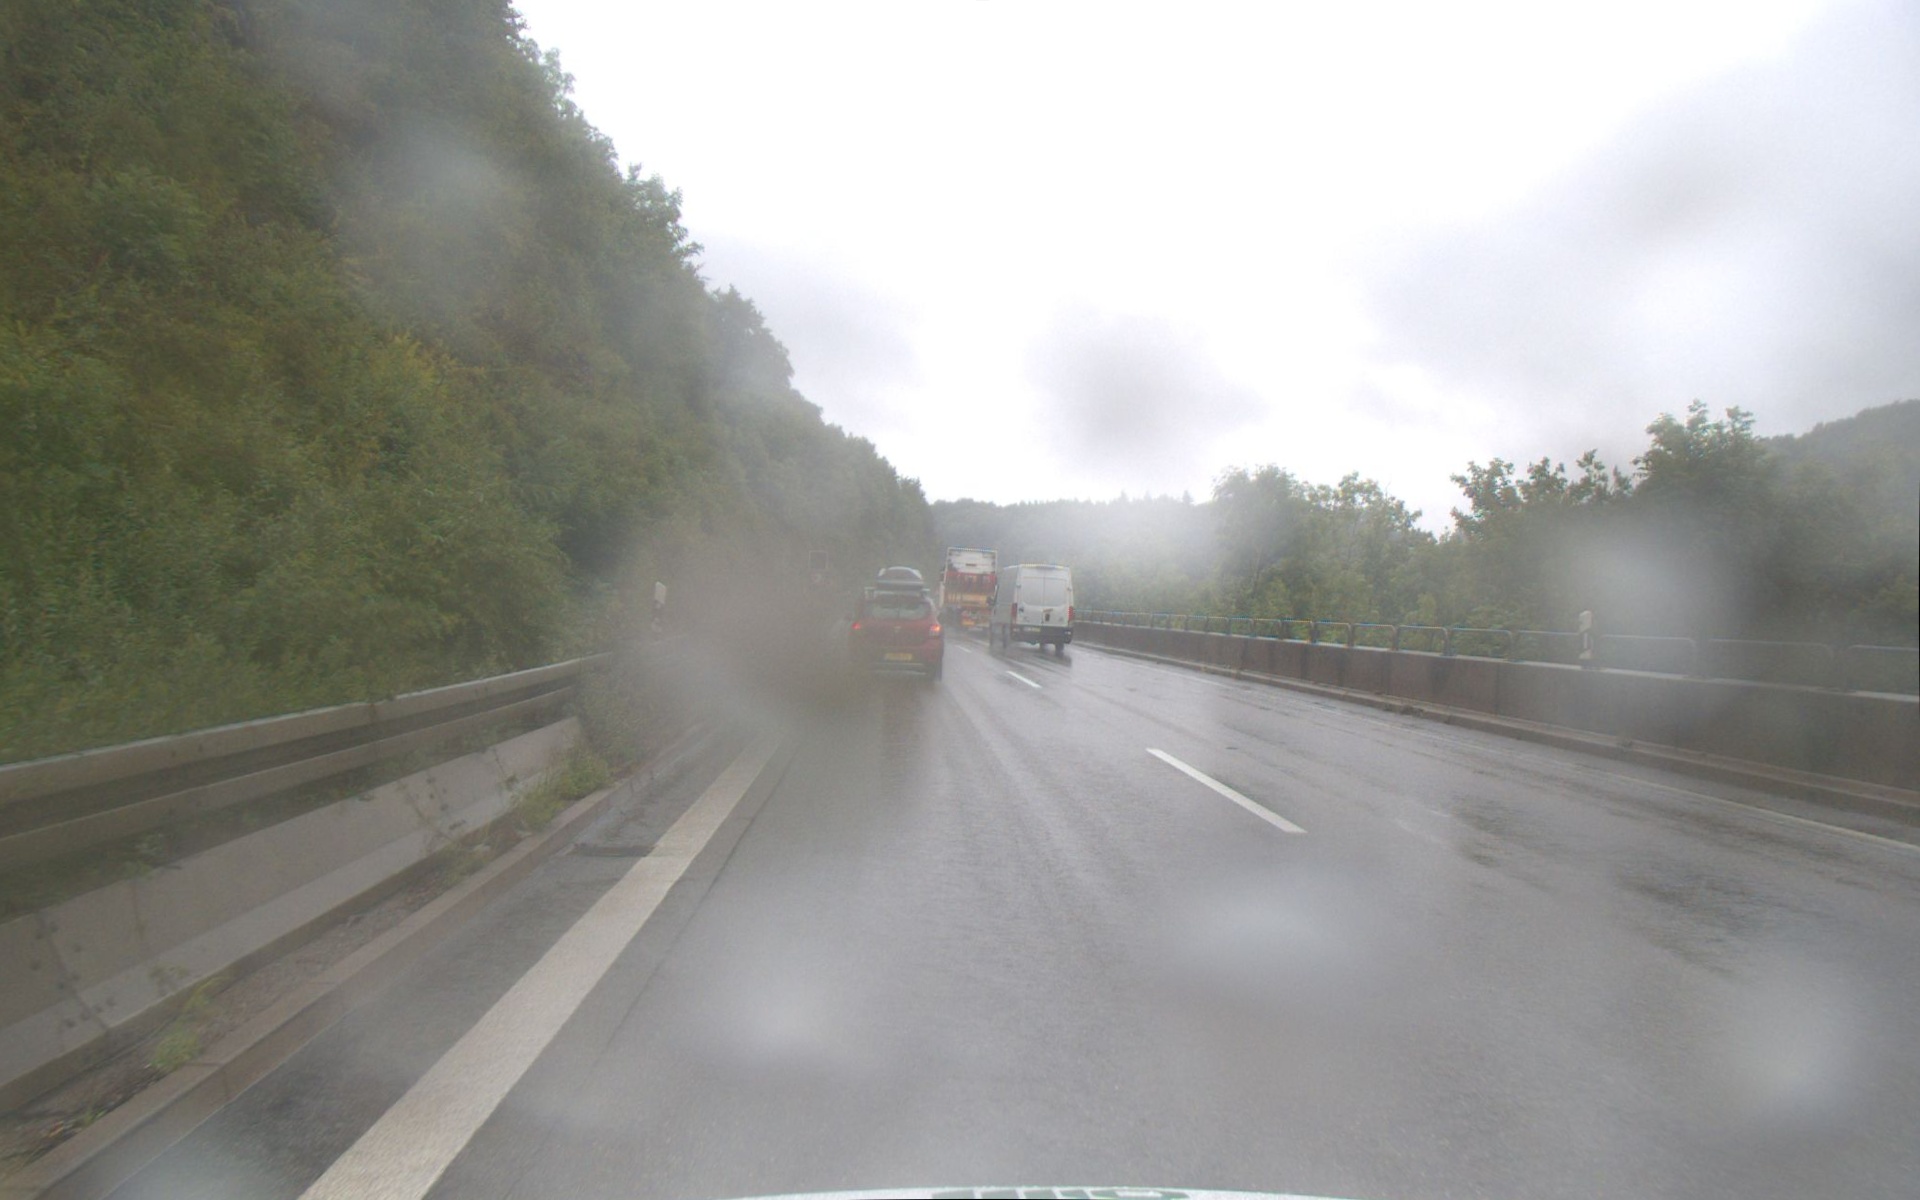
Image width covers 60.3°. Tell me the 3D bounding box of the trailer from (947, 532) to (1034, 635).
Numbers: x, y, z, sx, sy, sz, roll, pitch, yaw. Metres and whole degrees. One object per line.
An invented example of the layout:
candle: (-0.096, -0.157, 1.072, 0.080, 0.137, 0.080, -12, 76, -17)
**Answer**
trailer: (1.199, -0.667, 74.283, 3.153, 4.068, 13.519, 2, 0, -2)

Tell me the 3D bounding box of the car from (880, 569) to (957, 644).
car: (-1.057, 0.167, 40.619, 1.796, 1.745, 3.643, 0, -1, -2)

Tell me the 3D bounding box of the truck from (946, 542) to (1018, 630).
truck: (1.026, -0.641, 81.542, 3.155, 4.047, 5.437, 2, 0, -1)

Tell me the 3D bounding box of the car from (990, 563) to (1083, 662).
car: (2.356, 0.369, 53.322, 2.162, 2.842, 7.378, 4, 0, -3)

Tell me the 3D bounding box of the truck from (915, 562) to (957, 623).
truck: (-2.016, -0.522, 133.976, 3.158, 4.764, 8.295, 0, -1, -3)

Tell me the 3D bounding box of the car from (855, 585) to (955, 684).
car: (-1.053, 0.616, 30.641, 1.723, 1.714, 3.997, 0, -1, -3)
